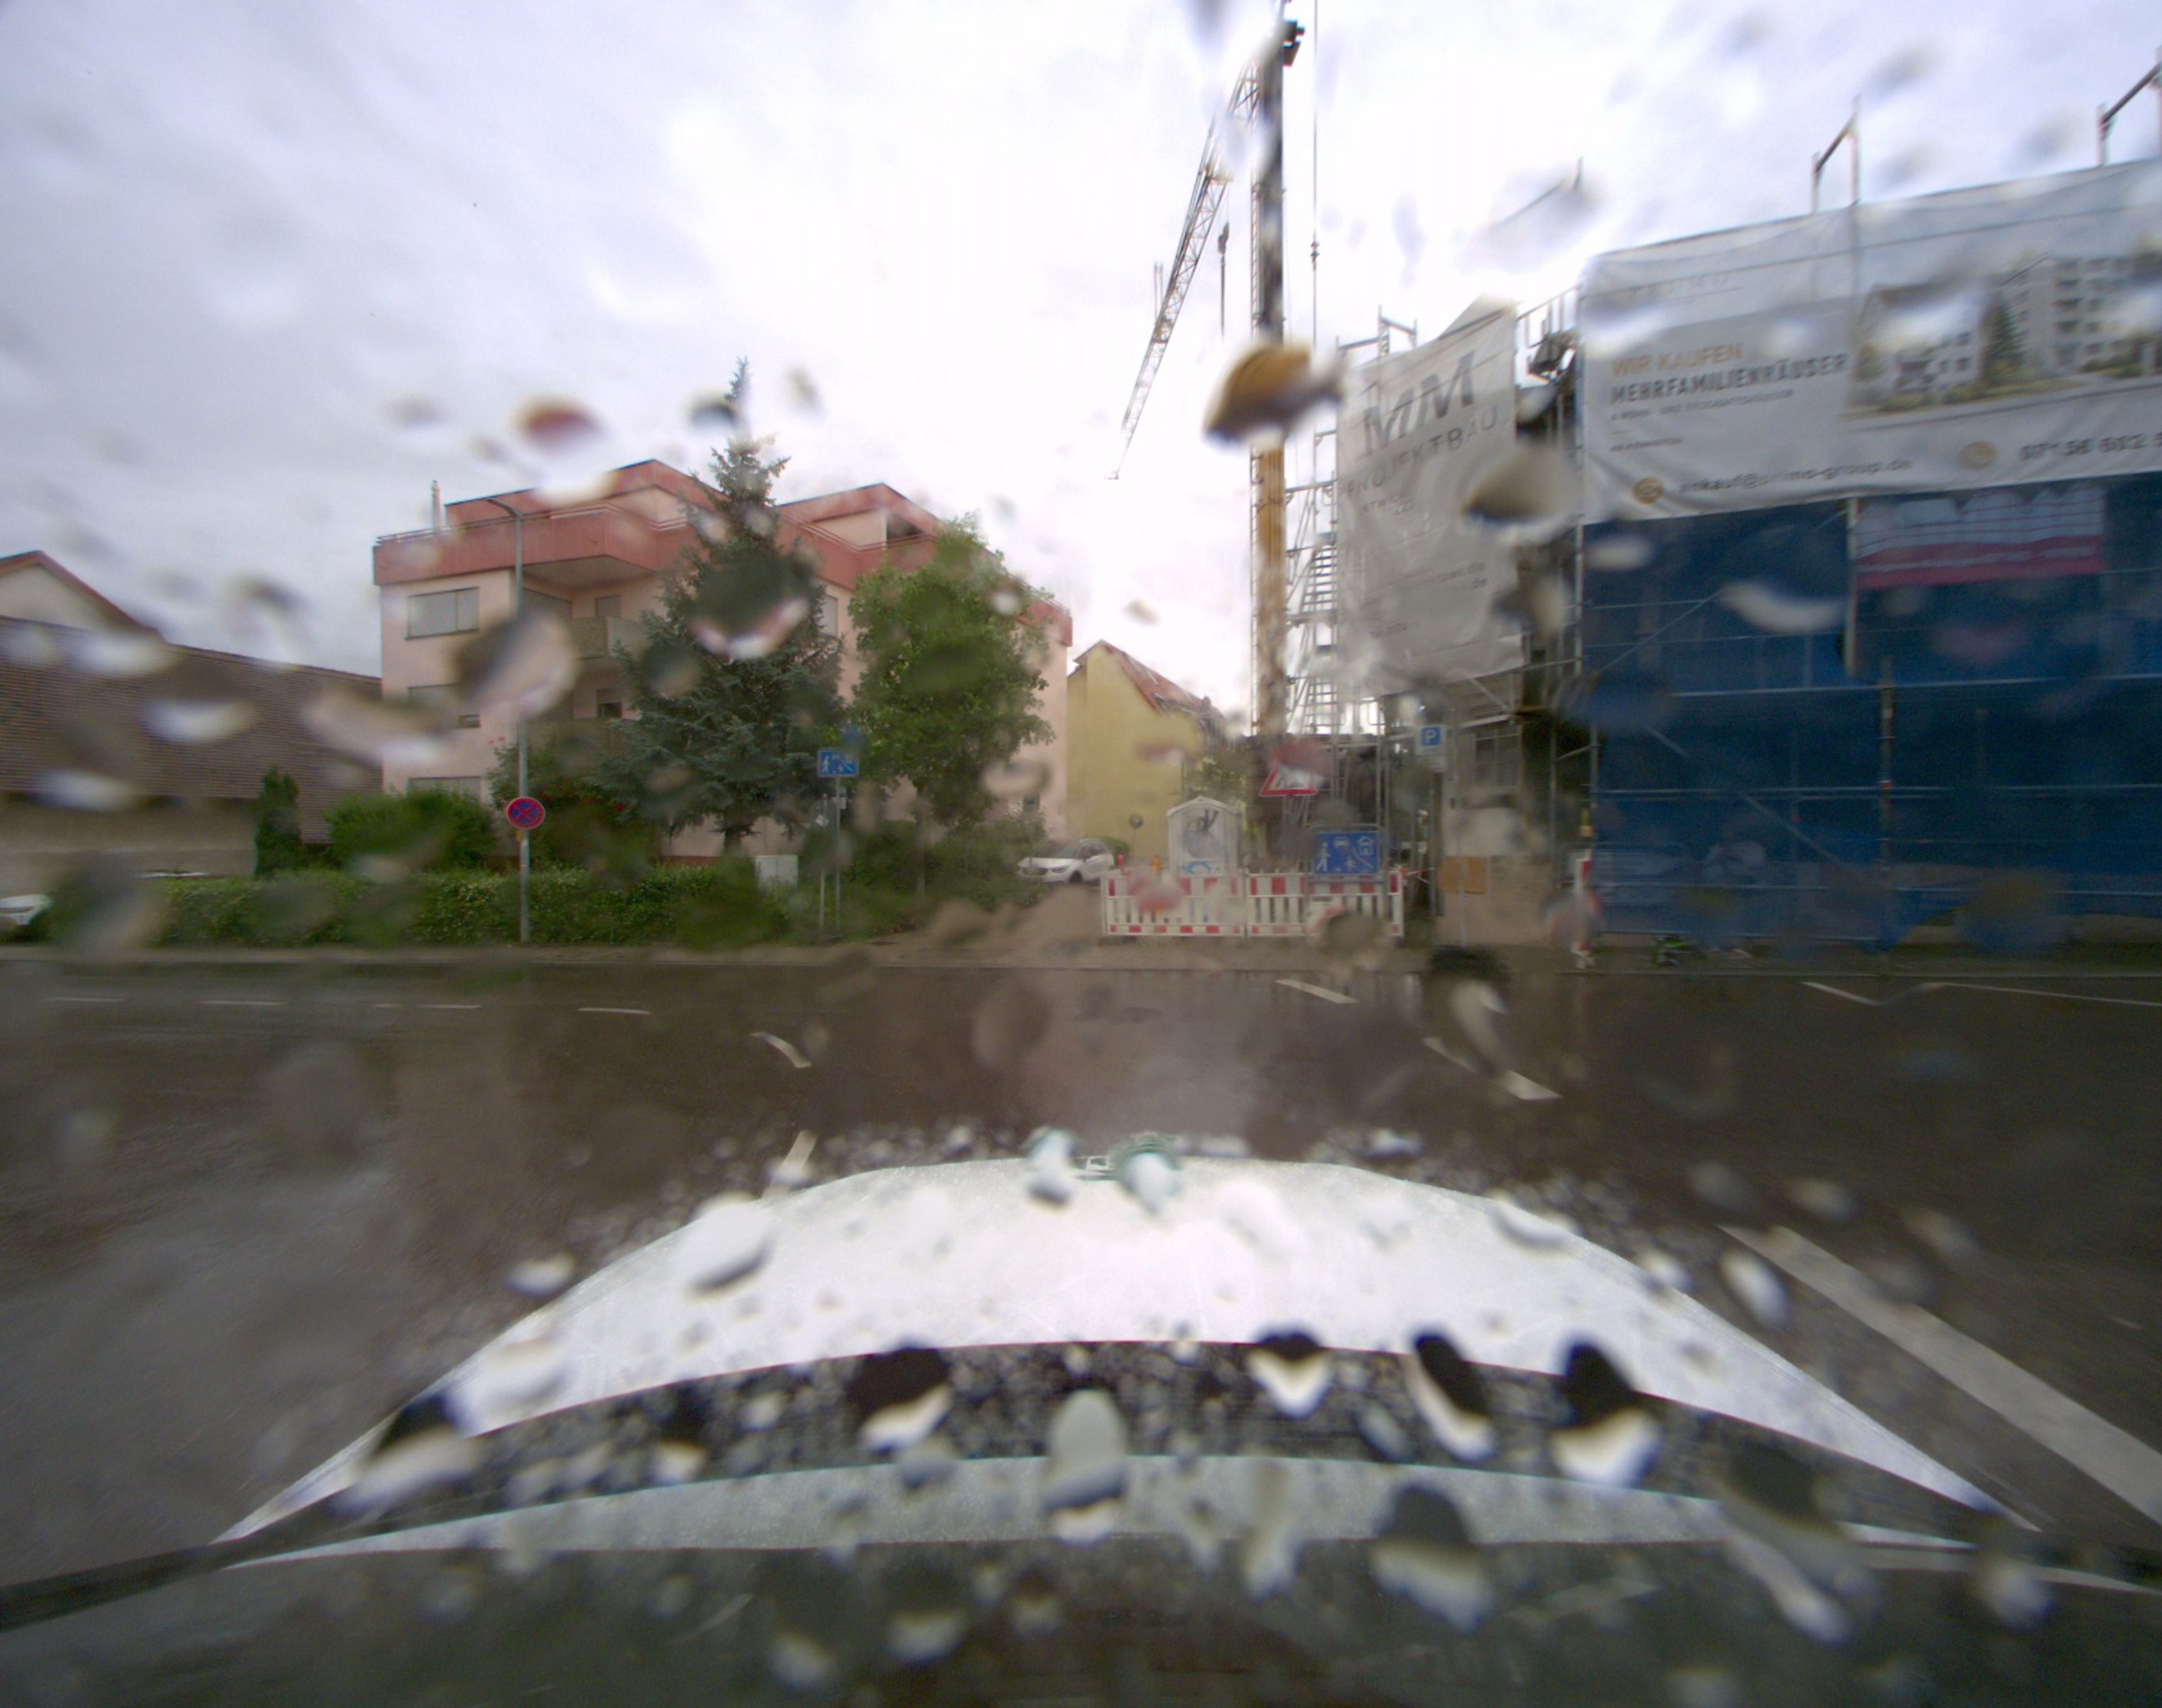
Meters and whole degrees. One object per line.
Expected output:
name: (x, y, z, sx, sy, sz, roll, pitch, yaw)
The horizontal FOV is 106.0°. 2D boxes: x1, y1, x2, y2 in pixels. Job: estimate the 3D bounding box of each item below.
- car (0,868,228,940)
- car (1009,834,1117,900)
car: (-27.436, 1.320, 22.929, 1.880, 1.649, 4.254, -1, 1, 21)
car: (-0.408, 0.286, 23.309, 1.586, 1.677, 3.961, 1, 2, 23)
